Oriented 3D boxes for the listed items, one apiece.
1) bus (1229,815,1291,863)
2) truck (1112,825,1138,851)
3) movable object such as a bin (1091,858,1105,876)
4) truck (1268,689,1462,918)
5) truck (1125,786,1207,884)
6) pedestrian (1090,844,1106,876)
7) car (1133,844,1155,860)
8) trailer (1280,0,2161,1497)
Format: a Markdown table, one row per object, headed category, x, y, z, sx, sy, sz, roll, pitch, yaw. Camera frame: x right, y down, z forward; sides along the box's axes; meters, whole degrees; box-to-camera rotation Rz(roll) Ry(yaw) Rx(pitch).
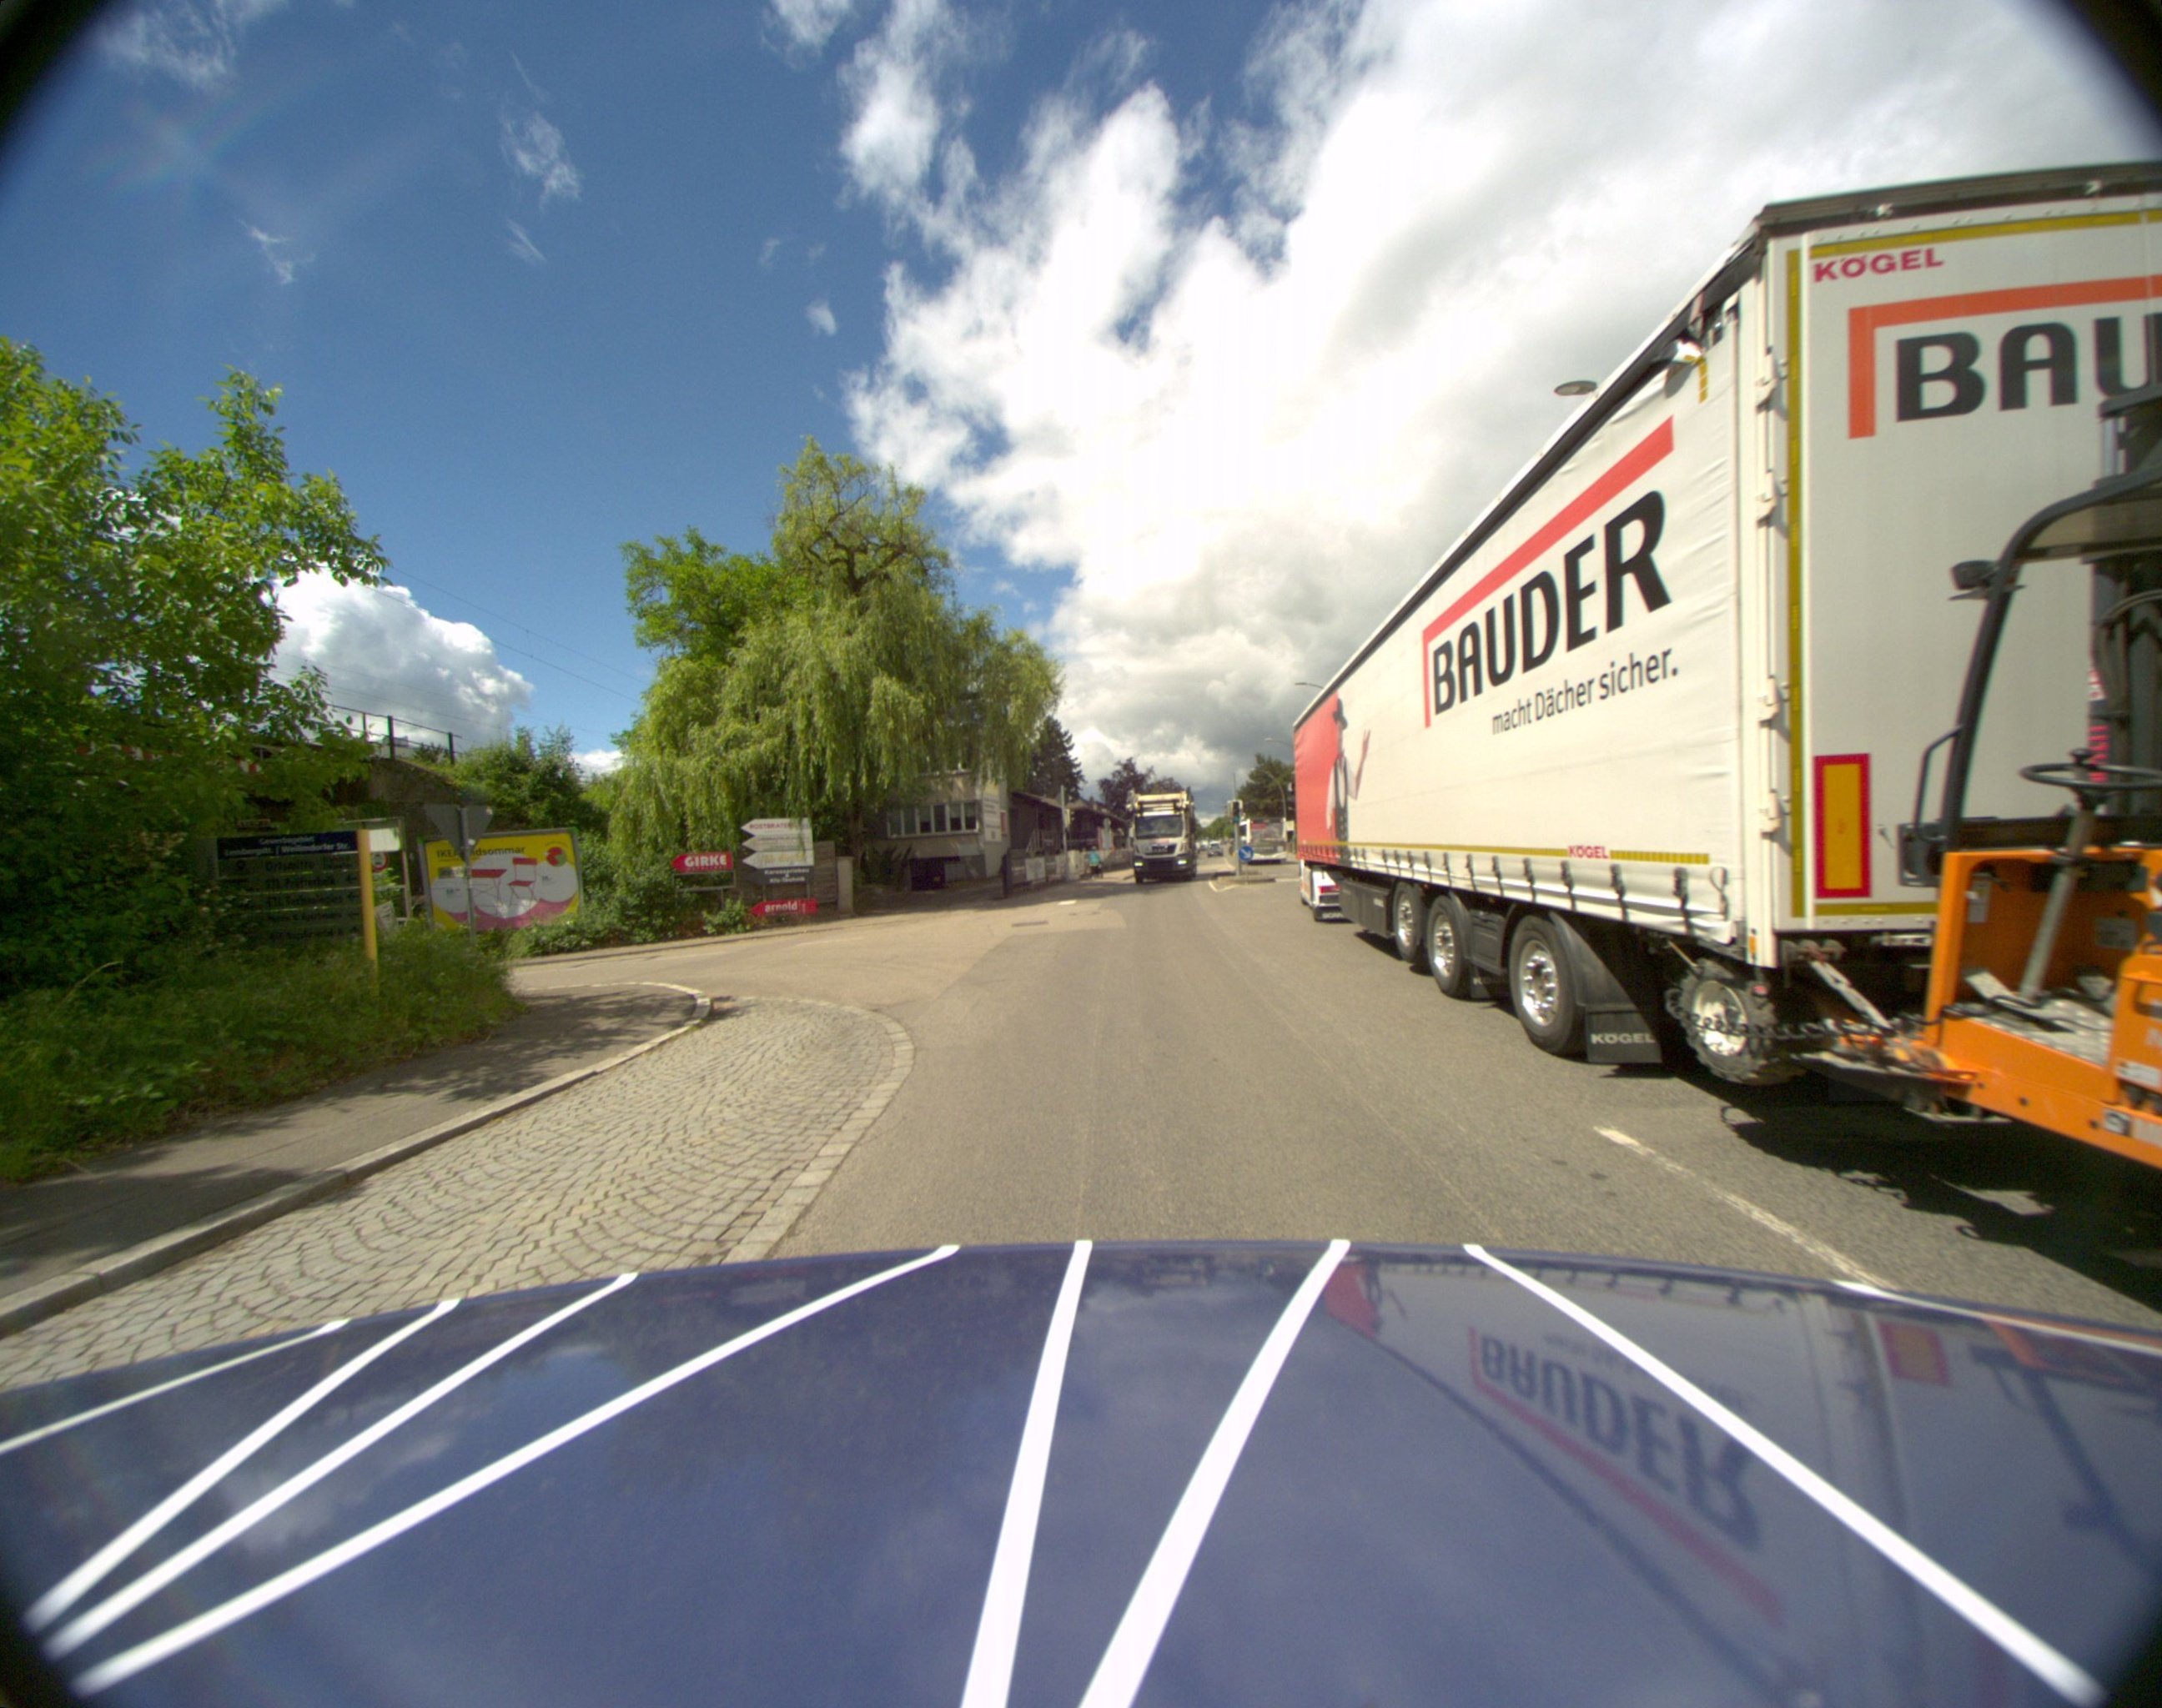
| category | x | y | z | sx | sy | sz | roll | pitch | yaw |
| --- | --- | --- | --- | --- | --- | --- | --- | --- | --- |
| bus | 12.676 | -1.100 | 54.827 | 2.724 | 3.013 | 12.269 | -2 | 1 | 6 |
| truck | 5.197 | -1.867 | 89.389 | 2.089 | 2.812 | 5.206 | -3 | 1 | 12 |
| movable object such as a bin | 0.842 | 0.638 | 37.601 | 0.670 | 0.866 | 0.748 | -1 | 1 | 0 |
| truck | 5.906 | -0.958 | 16.671 | 2.776 | 4.096 | 4.988 | -3 | 1 | 8 |
| truck | 4.199 | -0.866 | 35.491 | 2.662 | 3.789 | 9.822 | -3 | 1 | 12 |
| pedestrian | 0.833 | 0.306 | 37.081 | 0.733 | 1.534 | 0.841 | -1 | 1 | -1 |
| car | 7.268 | -0.260 | 87.519 | 1.861 | 1.521 | 5.206 | -3 | 1 | 12 |
| trailer | 4.754 | -0.829 | 8.773 | 2.776 | 4.121 | 15.357 | -3 | 1 | 8 |
